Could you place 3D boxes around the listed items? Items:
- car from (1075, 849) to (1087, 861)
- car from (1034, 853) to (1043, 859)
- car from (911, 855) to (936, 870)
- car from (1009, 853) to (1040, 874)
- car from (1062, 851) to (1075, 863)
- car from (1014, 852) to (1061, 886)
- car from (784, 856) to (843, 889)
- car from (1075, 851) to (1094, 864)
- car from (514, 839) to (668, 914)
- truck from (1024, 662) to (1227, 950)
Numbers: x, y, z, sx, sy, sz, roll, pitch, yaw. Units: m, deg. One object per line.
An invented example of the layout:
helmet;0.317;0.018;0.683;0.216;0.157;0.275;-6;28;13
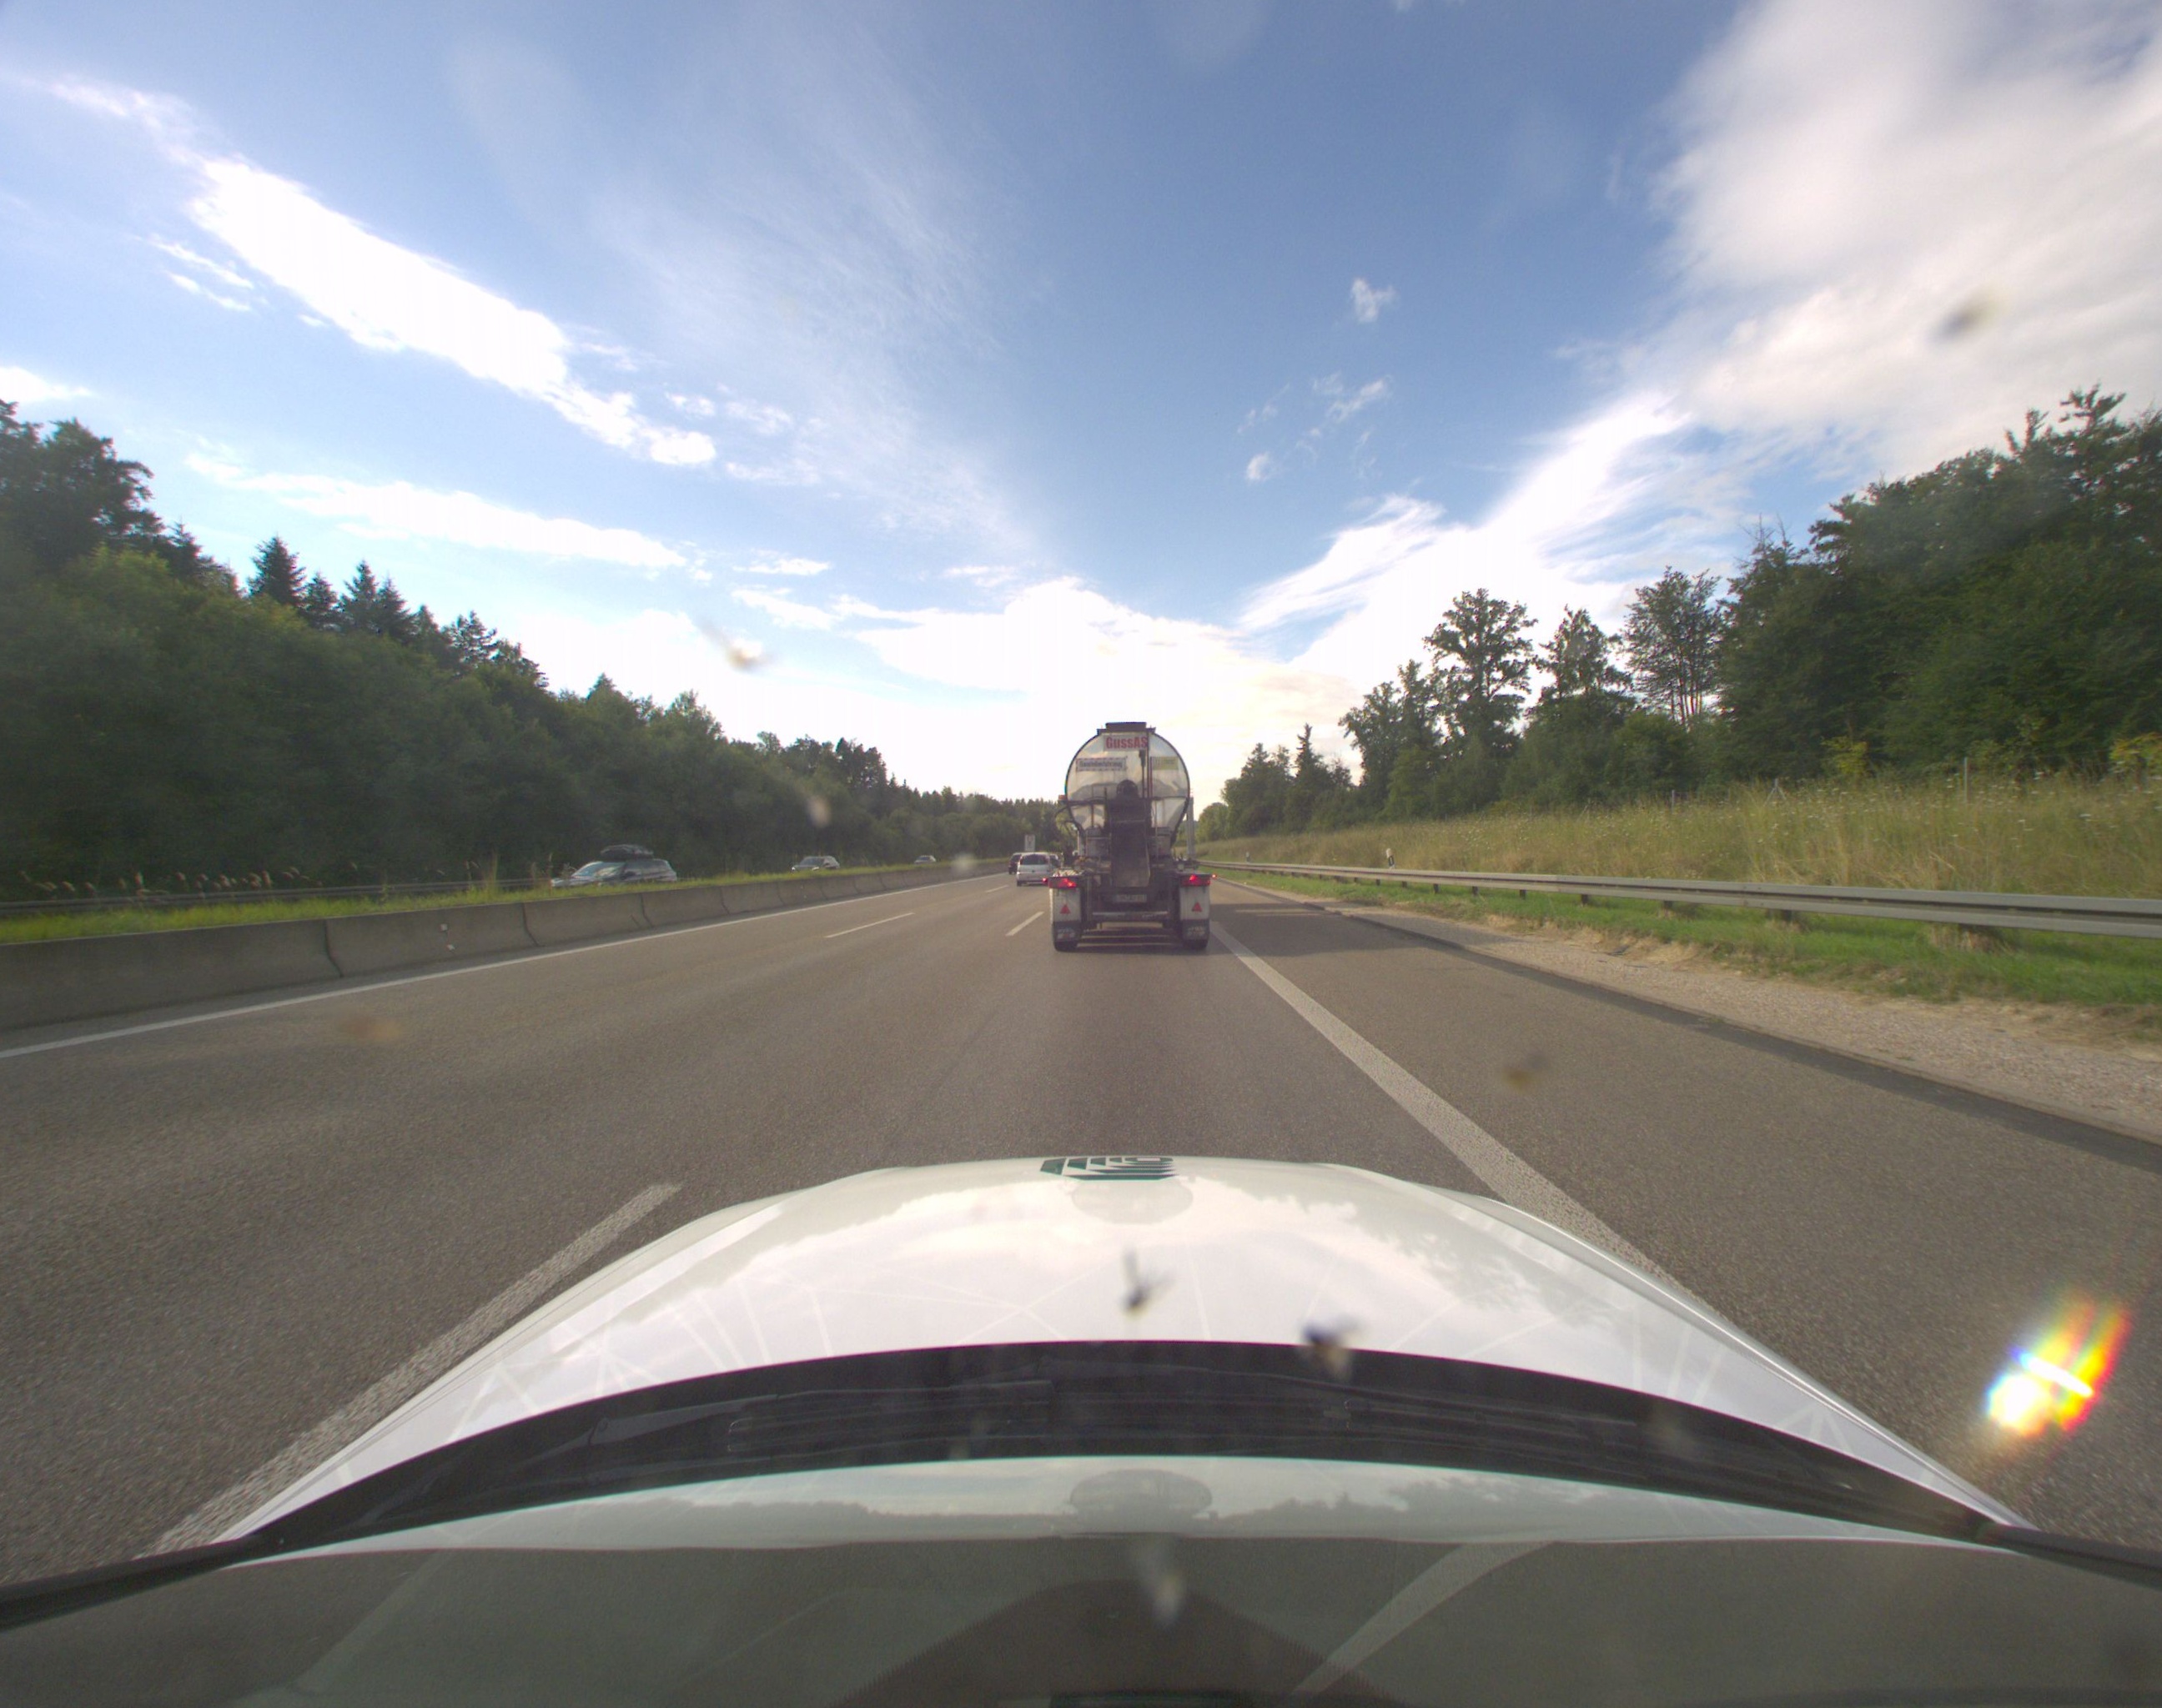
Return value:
car;0.011;0.095;128.147;1.838;1.783;4.002;-1;0;2
car;-10.476;0.495;199.536;1.809;1.290;3.547;-1;0;3
car;-18.028;0.941;93.414;1.872;1.628;4.573;-1;0;2
car;-4.257;0.699;61.956;1.828;1.517;4.336;-1;0;3
car;-1.670;0.418;109.343;1.612;1.544;3.522;-1;0;2
car;-2.087;0.688;40.026;1.828;1.517;4.336;-1;0;3
car;-16.434;1.070;50.211;1.986;1.881;4.440;-1;0;2
car;0.439;0.414;98.912;2.051;1.499;5.741;-1;0;3
car;-14.445;0.615;24.334;1.986;2.013;4.074;-1;0;2
truck;0.970;-0.723;17.549;2.900;4.157;11.279;-1;0;3
